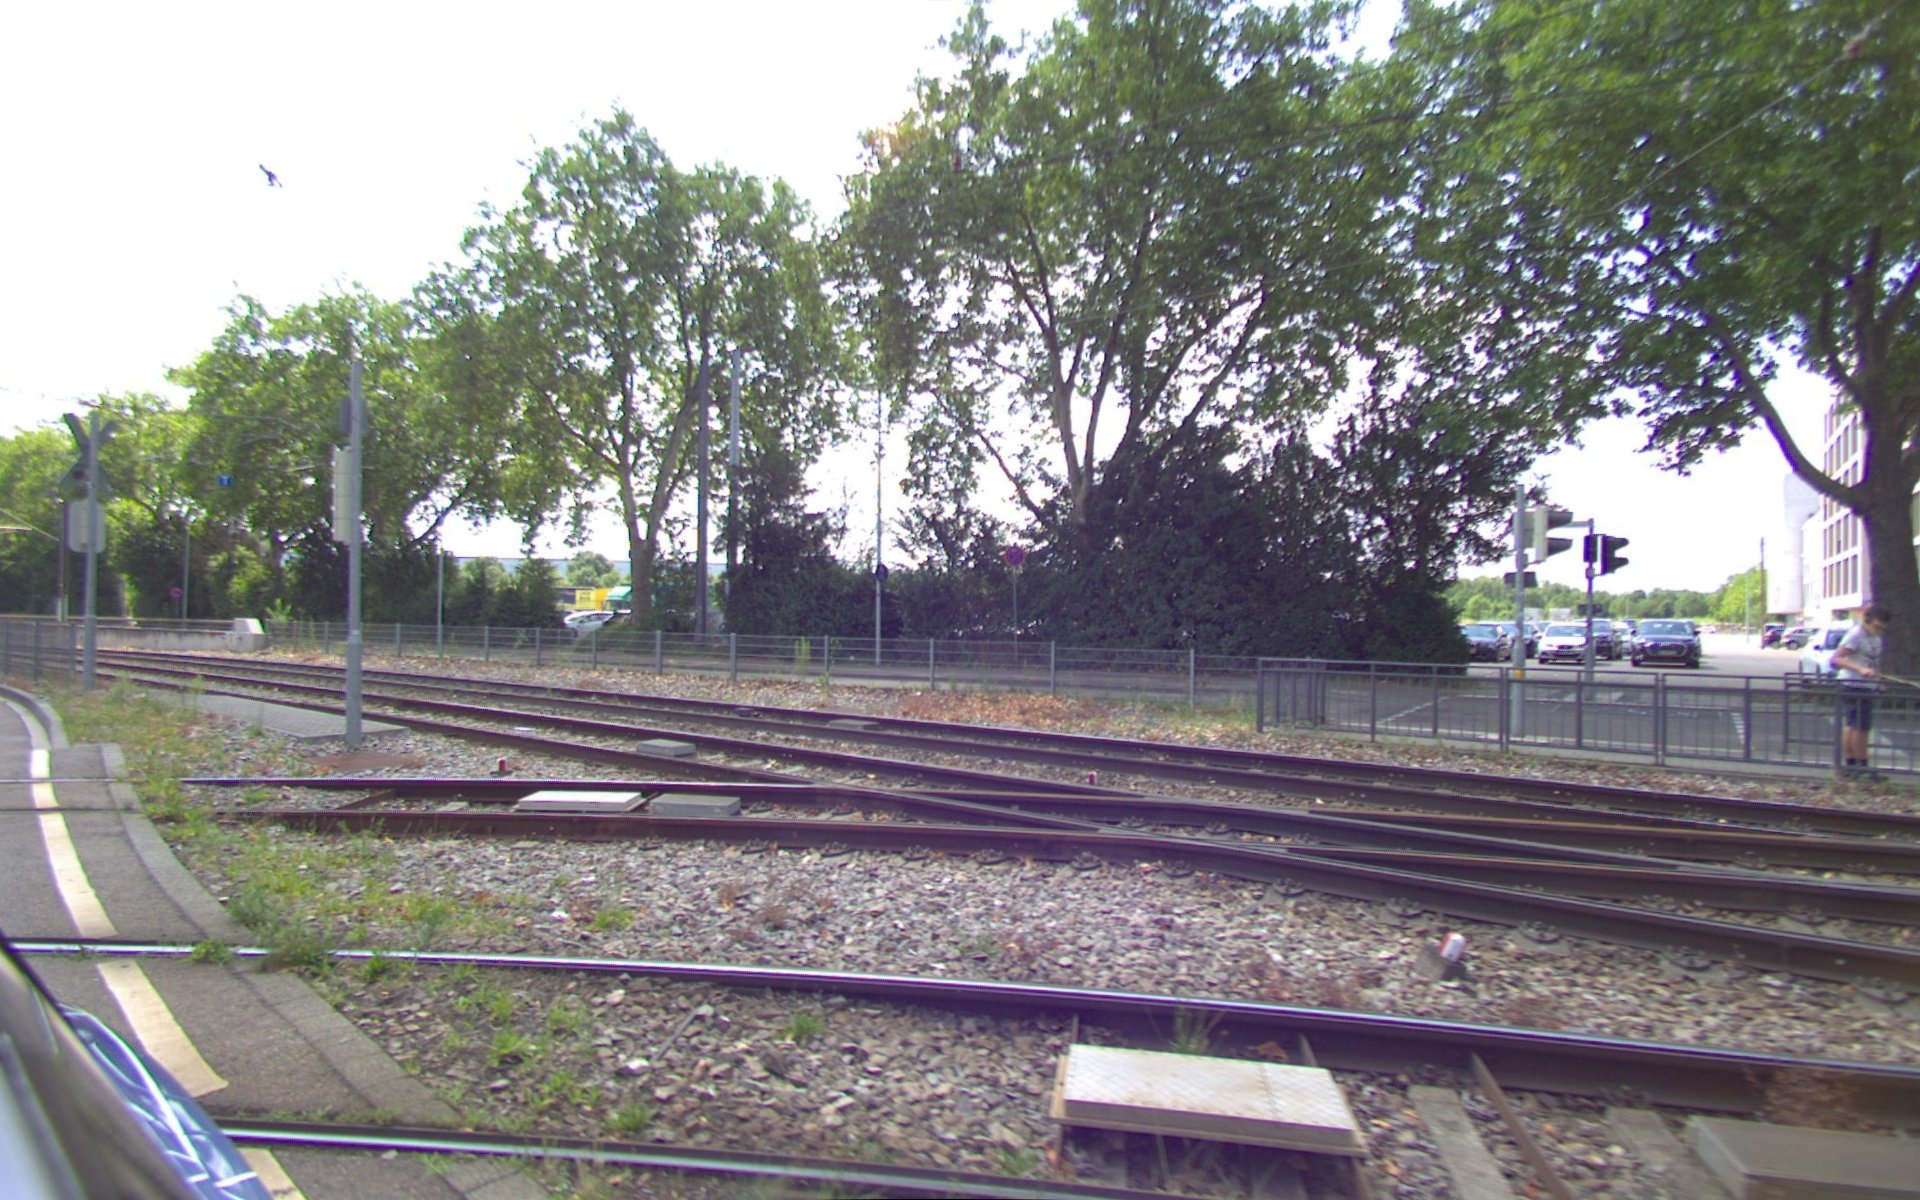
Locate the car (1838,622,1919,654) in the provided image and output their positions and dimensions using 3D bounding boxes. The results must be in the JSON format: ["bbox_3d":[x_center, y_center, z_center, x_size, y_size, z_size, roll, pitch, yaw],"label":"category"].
[{"bbox_3d":[50.279,2.062,54.684,4.099,1.494,1.863,3,-1,36],"label":"car"}]

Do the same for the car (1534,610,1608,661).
[{"bbox_3d":[21.346,1.188,35.305,1.775,1.438,3.950,3,3,37],"label":"car"}]

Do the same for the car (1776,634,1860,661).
[{"bbox_3d":[57.408,3.150,67.815,4.099,1.494,1.863,3,-1,36],"label":"car"}]

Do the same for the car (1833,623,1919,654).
[{"bbox_3d":[51.534,2.154,56.462,4.099,1.494,1.863,3,-1,36],"label":"car"}]

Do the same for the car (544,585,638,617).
[{"bbox_3d":[-18.445,0.043,50.745,1.997,1.453,3.950,3,1,37],"label":"car"}]

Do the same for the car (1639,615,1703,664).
[{"bbox_3d":[26.438,1.418,37.591,1.775,1.438,3.950,3,3,37],"label":"car"}]

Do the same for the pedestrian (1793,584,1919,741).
[{"bbox_3d":[8.478,0.567,9.502,0.909,1.353,0.865,4,-1,-43],"label":"pedestrian"}]

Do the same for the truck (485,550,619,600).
[{"bbox_3d":[-40.600,-2.375,101.471,2.744,4.104,12.667,3,-1,37],"label":"truck"}]

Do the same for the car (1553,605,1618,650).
[{"bbox_3d":[24.576,1.031,39.729,1.775,1.438,3.950,3,3,37],"label":"car"}]

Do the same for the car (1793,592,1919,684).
[{"bbox_3d":[19.541,0.795,21.923,1.798,1.763,3.955,3,0,33],"label":"car"}]

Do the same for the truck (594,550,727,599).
[{"bbox_3d":[-20.829,-1.709,70.928,2.705,2.814,8.741,3,-1,41],"label":"truck"}]

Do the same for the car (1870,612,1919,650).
[{"bbox_3d":[40.997,1.391,42.362,4.099,1.494,1.863,3,-1,36],"label":"car"}]

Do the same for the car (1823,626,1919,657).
[{"bbox_3d":[53.692,2.420,59.612,4.099,1.494,1.863,3,-1,36],"label":"car"}]

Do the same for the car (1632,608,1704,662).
[{"bbox_3d":[23.485,1.105,33.527,1.775,1.438,3.950,3,3,37],"label":"car"}]

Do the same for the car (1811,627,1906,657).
[{"bbox_3d":[55.142,2.563,62.199,4.099,1.494,1.863,3,-1,36],"label":"car"}]
